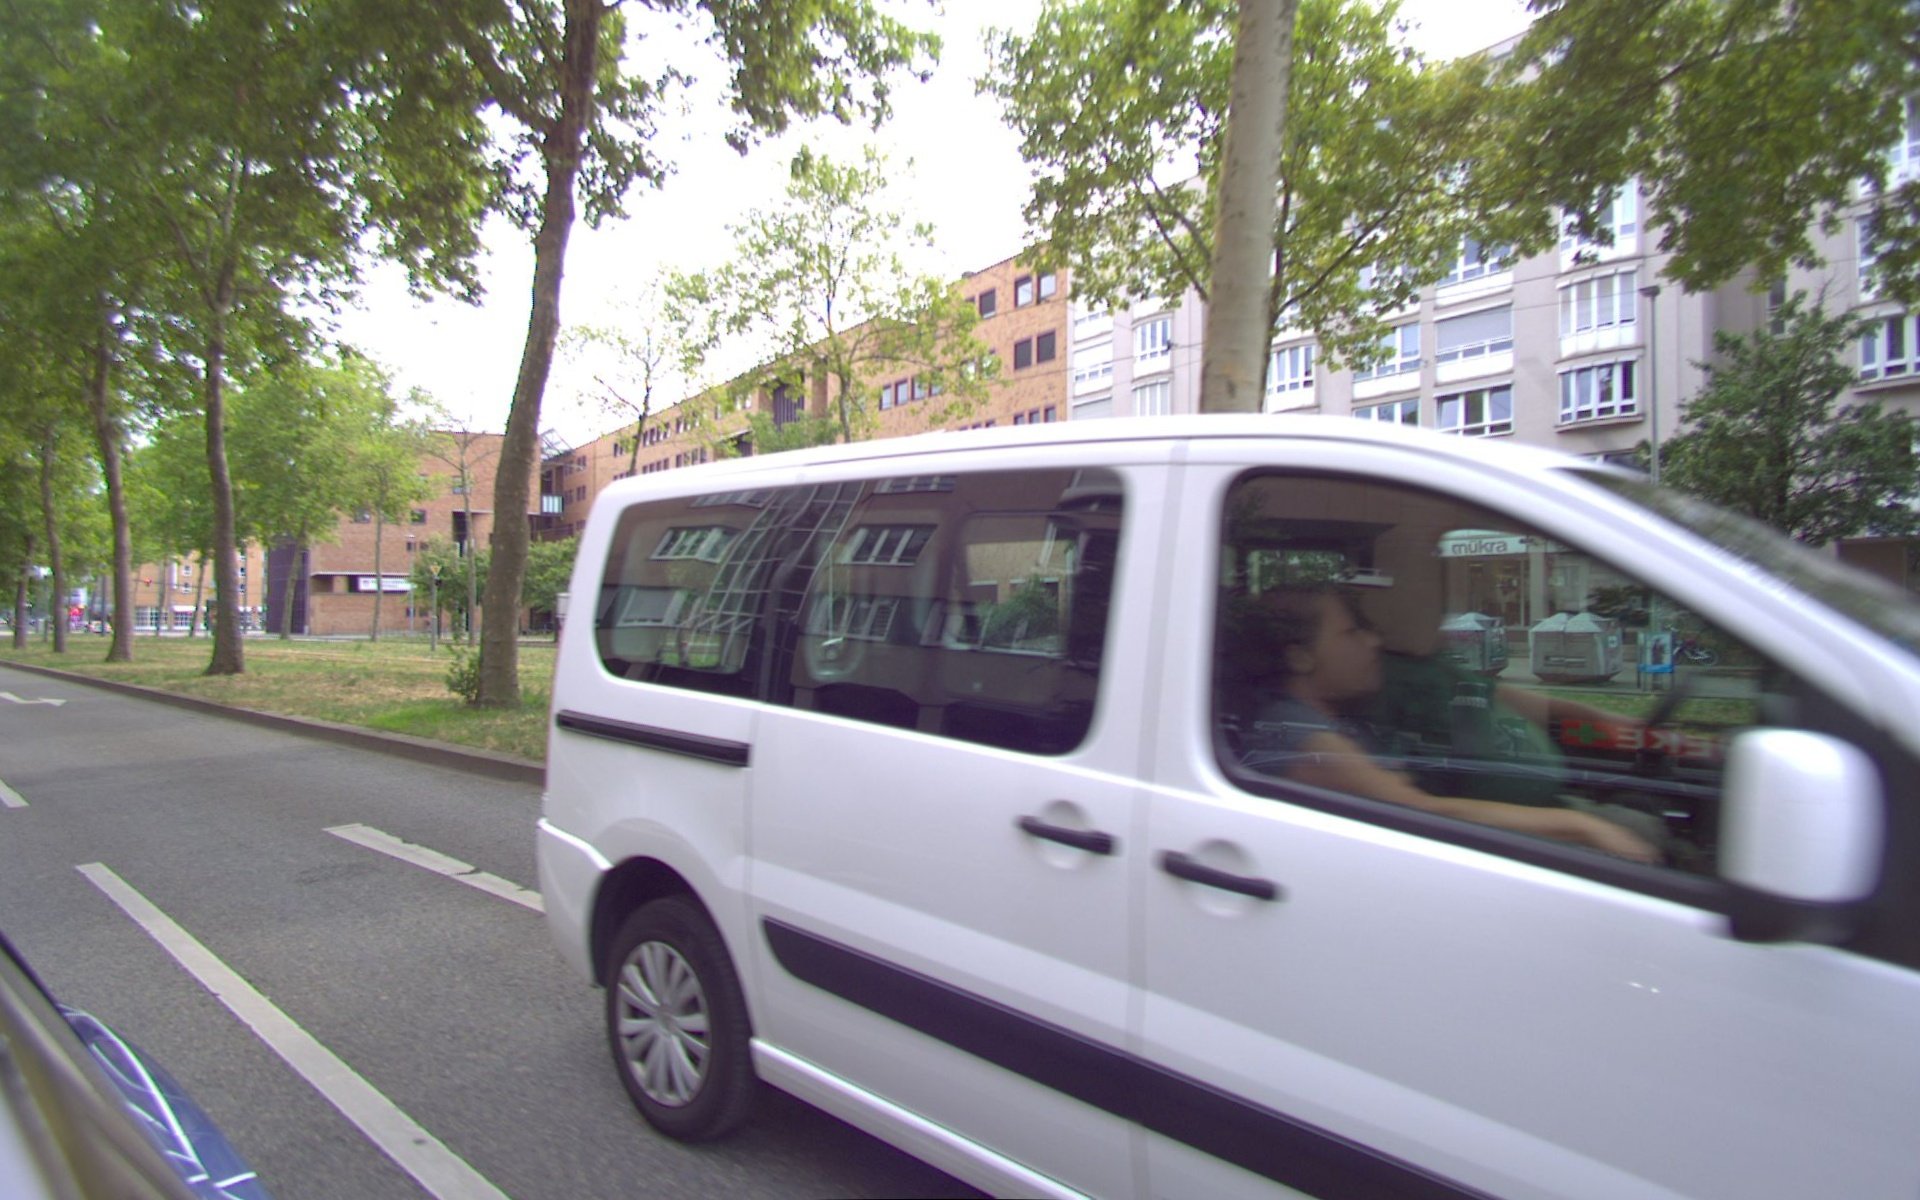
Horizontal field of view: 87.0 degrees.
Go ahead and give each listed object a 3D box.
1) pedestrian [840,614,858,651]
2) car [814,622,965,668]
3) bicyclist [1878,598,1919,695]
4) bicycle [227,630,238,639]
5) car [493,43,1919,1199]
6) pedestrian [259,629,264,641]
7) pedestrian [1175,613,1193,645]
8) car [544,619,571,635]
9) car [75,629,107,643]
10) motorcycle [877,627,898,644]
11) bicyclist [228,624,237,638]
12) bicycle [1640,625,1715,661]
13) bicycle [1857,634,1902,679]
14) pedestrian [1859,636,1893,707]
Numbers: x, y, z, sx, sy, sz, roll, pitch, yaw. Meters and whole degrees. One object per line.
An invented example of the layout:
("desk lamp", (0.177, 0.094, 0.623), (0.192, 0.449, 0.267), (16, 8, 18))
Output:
("pedestrian", (-5.203, 1.537, 47.347), (0.546, 1.718, 0.626), (1, -2, -45))
("car", (-2.128, 1.279, 29.681), (4.531, 1.254, 1.711), (-1, -1, 41))
("bicyclist", (16.989, 0.815, 17.983), (0.682, 1.685, 0.954), (1, -2, -44))
("bicycle", (-83.197, 3.959, 115.702), (2.094, 1.092, 0.660), (-2, -2, 44))
("car", (0.980, 0.412, 2.360), (4.953, 1.940, 1.911), (-2, -2, 41))
("pedestrian", (-99.598, 4.951, 144.297), (0.543, 1.745, 0.533), (-1, -2, 39))
("pedestrian", (9.563, 1.237, 43.224), (0.451, 1.333, 0.555), (1, -2, -38))
("car", (-46.924, 3.140, 118.003), (1.868, 1.821, 4.008), (1, -2, -38))
("car", (-90.521, 3.697, 105.401), (4.654, 1.432, 1.766), (-1, -2, 40))
("motorcycle", (-4.499, 2.212, 63.078), (0.365, 1.031, 1.566), (-1, -1, 38))
("bicyclist", (-83.227, 3.558, 115.758), (0.984, 1.603, 0.656), (-2, -2, 44))
("bicycle", (19.923, 1.186, 28.121), (0.433, 0.950, 1.635), (1, -1, -41))
("bicycle", (20.578, 1.243, 22.644), (1.606, 0.950, 0.441), (1, -1, -37))
("pedestrian", (20.471, 1.589, 22.620), (0.533, 1.542, 0.508), (-1, -2, 42))
